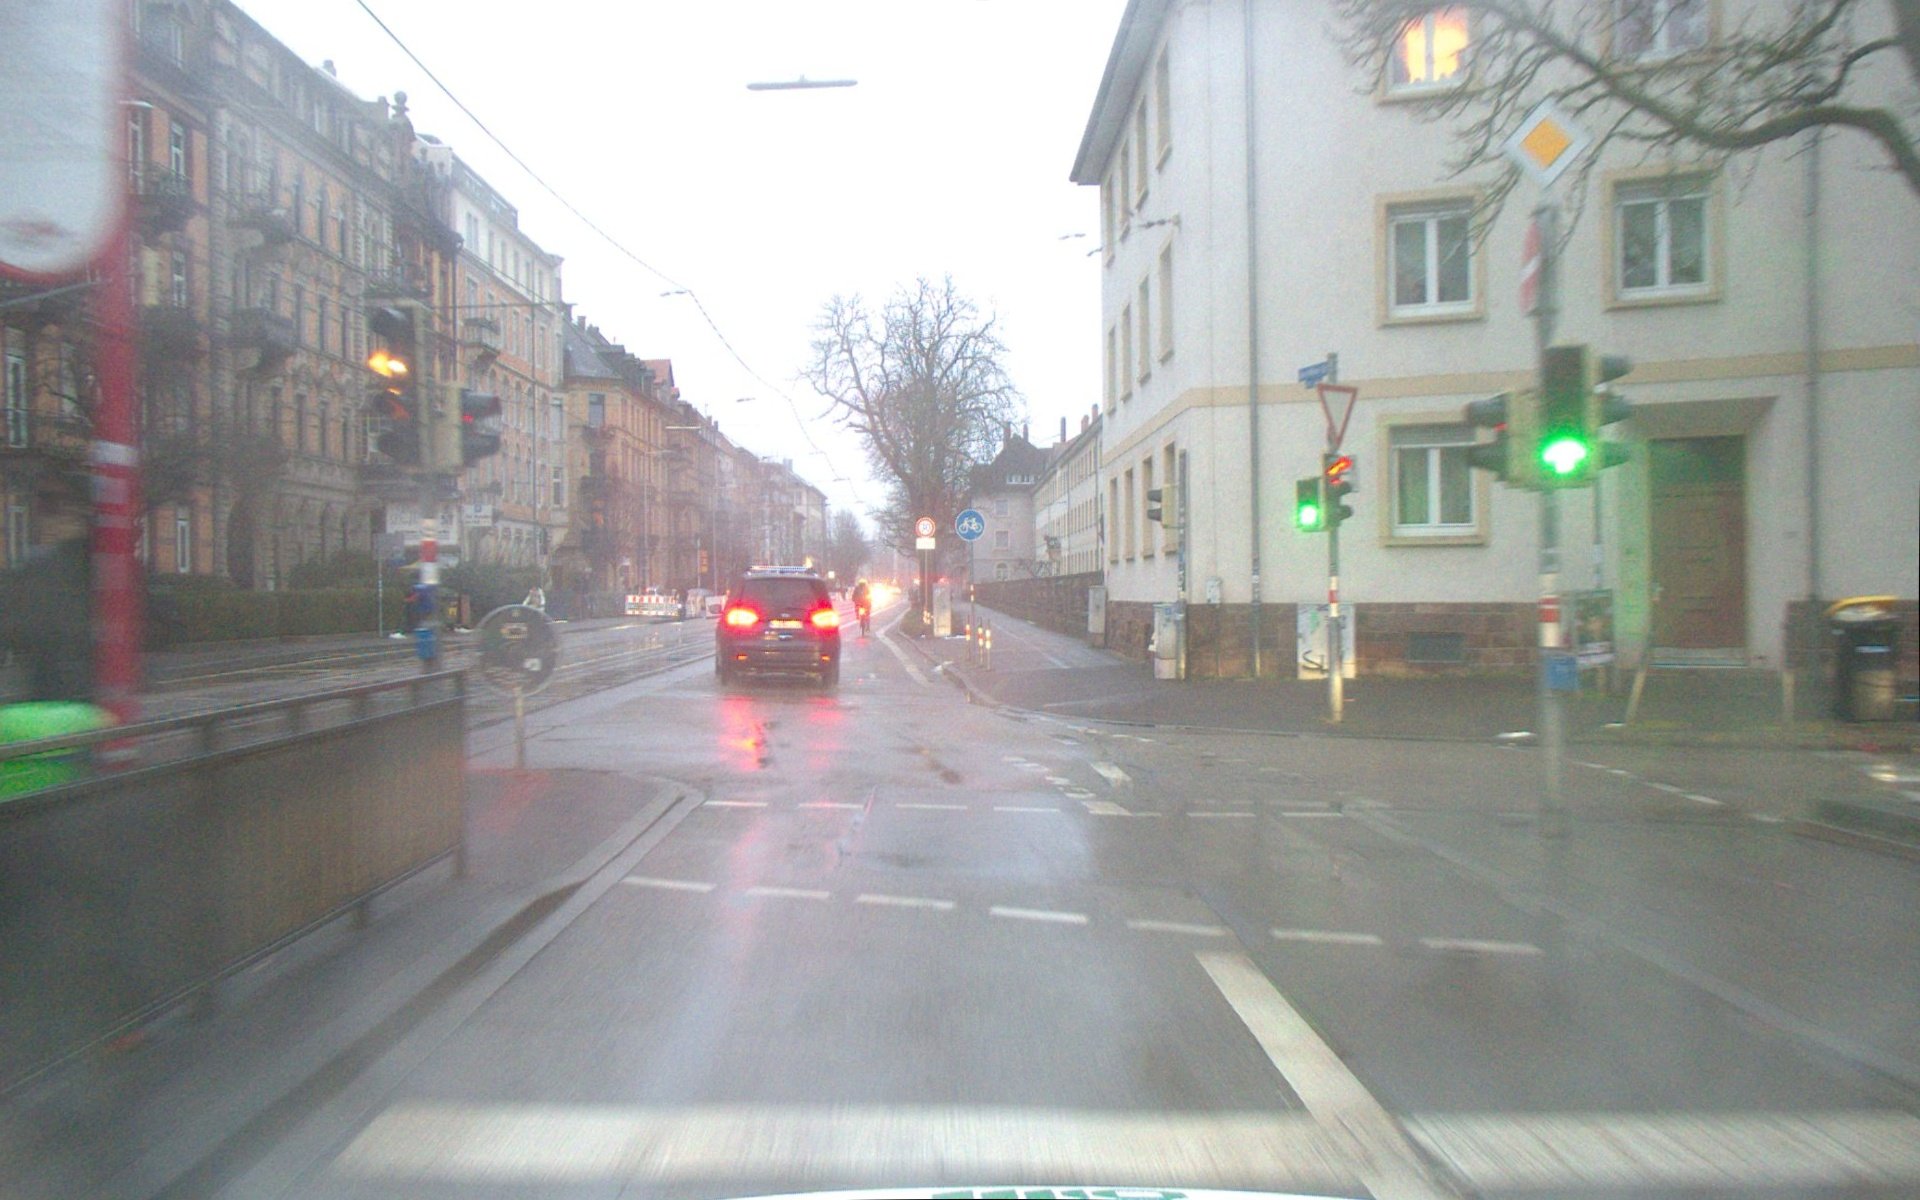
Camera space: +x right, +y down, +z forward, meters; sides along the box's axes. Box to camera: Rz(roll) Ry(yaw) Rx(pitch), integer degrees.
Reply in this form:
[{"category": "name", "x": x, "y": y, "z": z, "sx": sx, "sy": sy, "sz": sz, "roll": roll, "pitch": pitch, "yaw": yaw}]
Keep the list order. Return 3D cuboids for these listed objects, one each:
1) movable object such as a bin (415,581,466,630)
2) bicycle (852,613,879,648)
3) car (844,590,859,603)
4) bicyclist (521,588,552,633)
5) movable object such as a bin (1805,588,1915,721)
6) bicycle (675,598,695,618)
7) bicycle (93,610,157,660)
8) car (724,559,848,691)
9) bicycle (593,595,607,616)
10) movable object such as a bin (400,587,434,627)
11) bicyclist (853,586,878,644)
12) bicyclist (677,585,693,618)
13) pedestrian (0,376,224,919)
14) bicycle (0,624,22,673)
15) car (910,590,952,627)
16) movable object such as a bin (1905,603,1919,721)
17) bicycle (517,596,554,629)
[{"category": "movable object such as a bin", "x": -17.381, "y": 0.164, "z": 55.366, "sx": 1.218, "sy": 1.613, "sz": 1.308, "roll": 0, "pitch": 0, "yaw": 4}, {"category": "bicycle", "x": -2.901, "y": 0.930, "z": 50.802, "sx": 0.716, "sy": 1.024, "sz": 1.764, "roll": 0, "pitch": 0, "yaw": 0}, {"category": "car", "x": -15.579, "y": -0.521, "z": 237.970, "sx": 1.884, "sy": 1.750, "sz": 3.999, "roll": 0, "pitch": 0, "yaw": -1}, {"category": "bicyclist", "x": -13.542, "y": 0.332, "z": 52.890, "sx": 0.690, "sy": 1.388, "sz": 0.944, "roll": 1, "pitch": 0, "yaw": 0}, {"category": "movable object such as a bin", "x": 9.045, "y": 0.538, "z": 16.623, "sx": 0.839, "sy": 1.273, "sz": 0.519, "roll": 2, "pitch": 0, "yaw": 42}, {"category": "bicycle", "x": -13.620, "y": 0.377, "z": 81.925, "sx": 0.664, "sy": 0.989, "sz": 1.933, "roll": 0, "pitch": 0, "yaw": 0}, {"category": "bicycle", "x": -17.613, "y": 0.728, "z": 34.926, "sx": 0.407, "sy": 1.024, "sz": 1.849, "roll": 0, "pitch": 0, "yaw": 0}, {"category": "car", "x": -2.870, "y": 0.353, "z": 26.588, "sx": 1.768, "sy": 1.903, "sz": 4.010, "roll": 2, "pitch": 0, "yaw": -8}, {"category": "bicycle", "x": -17.069, "y": 0.259, "z": 78.401, "sx": 0.258, "sy": 0.931, "sz": 1.685, "roll": 5, "pitch": 0, "yaw": -1}, {"category": "movable object such as a bin", "x": -17.856, "y": 0.231, "z": 54.416, "sx": 0.877, "sy": 1.315, "sz": 0.746, "roll": 0, "pitch": 0, "yaw": -4}, {"category": "bicyclist", "x": -2.899, "y": 0.465, "z": 50.853, "sx": 0.715, "sy": 1.767, "sz": 0.765, "roll": 0, "pitch": 0, "yaw": 0}, {"category": "bicyclist", "x": -13.605, "y": 0.078, "z": 81.941, "sx": 0.669, "sy": 1.644, "sz": 0.765, "roll": 0, "pitch": 0, "yaw": 0}, {"category": "pedestrian", "x": -3.402, "y": 0.161, "z": 6.380, "sx": 0.672, "sy": 1.951, "sz": 0.718, "roll": 2, "pitch": 0, "yaw": 10}, {"category": "bicycle", "x": -17.784, "y": 0.894, "z": 30.092, "sx": 0.391, "sy": 0.877, "sz": 1.849, "roll": 0, "pitch": 0, "yaw": 0}, {"category": "car", "x": -1.276, "y": 0.350, "z": 71.446, "sx": 1.749, "sy": 1.536, "sz": 3.986, "roll": 0, "pitch": 0, "yaw": -2}, {"category": "movable object such as a bin", "x": 9.660, "y": 0.620, "z": 16.087, "sx": 0.689, "sy": 1.139, "sz": 0.535, "roll": 2, "pitch": 0, "yaw": 42}, {"category": "bicycle", "x": -13.546, "y": 0.388, "z": 52.813, "sx": 0.667, "sy": 1.024, "sz": 1.803, "roll": -1, "pitch": 1, "yaw": 0}]
